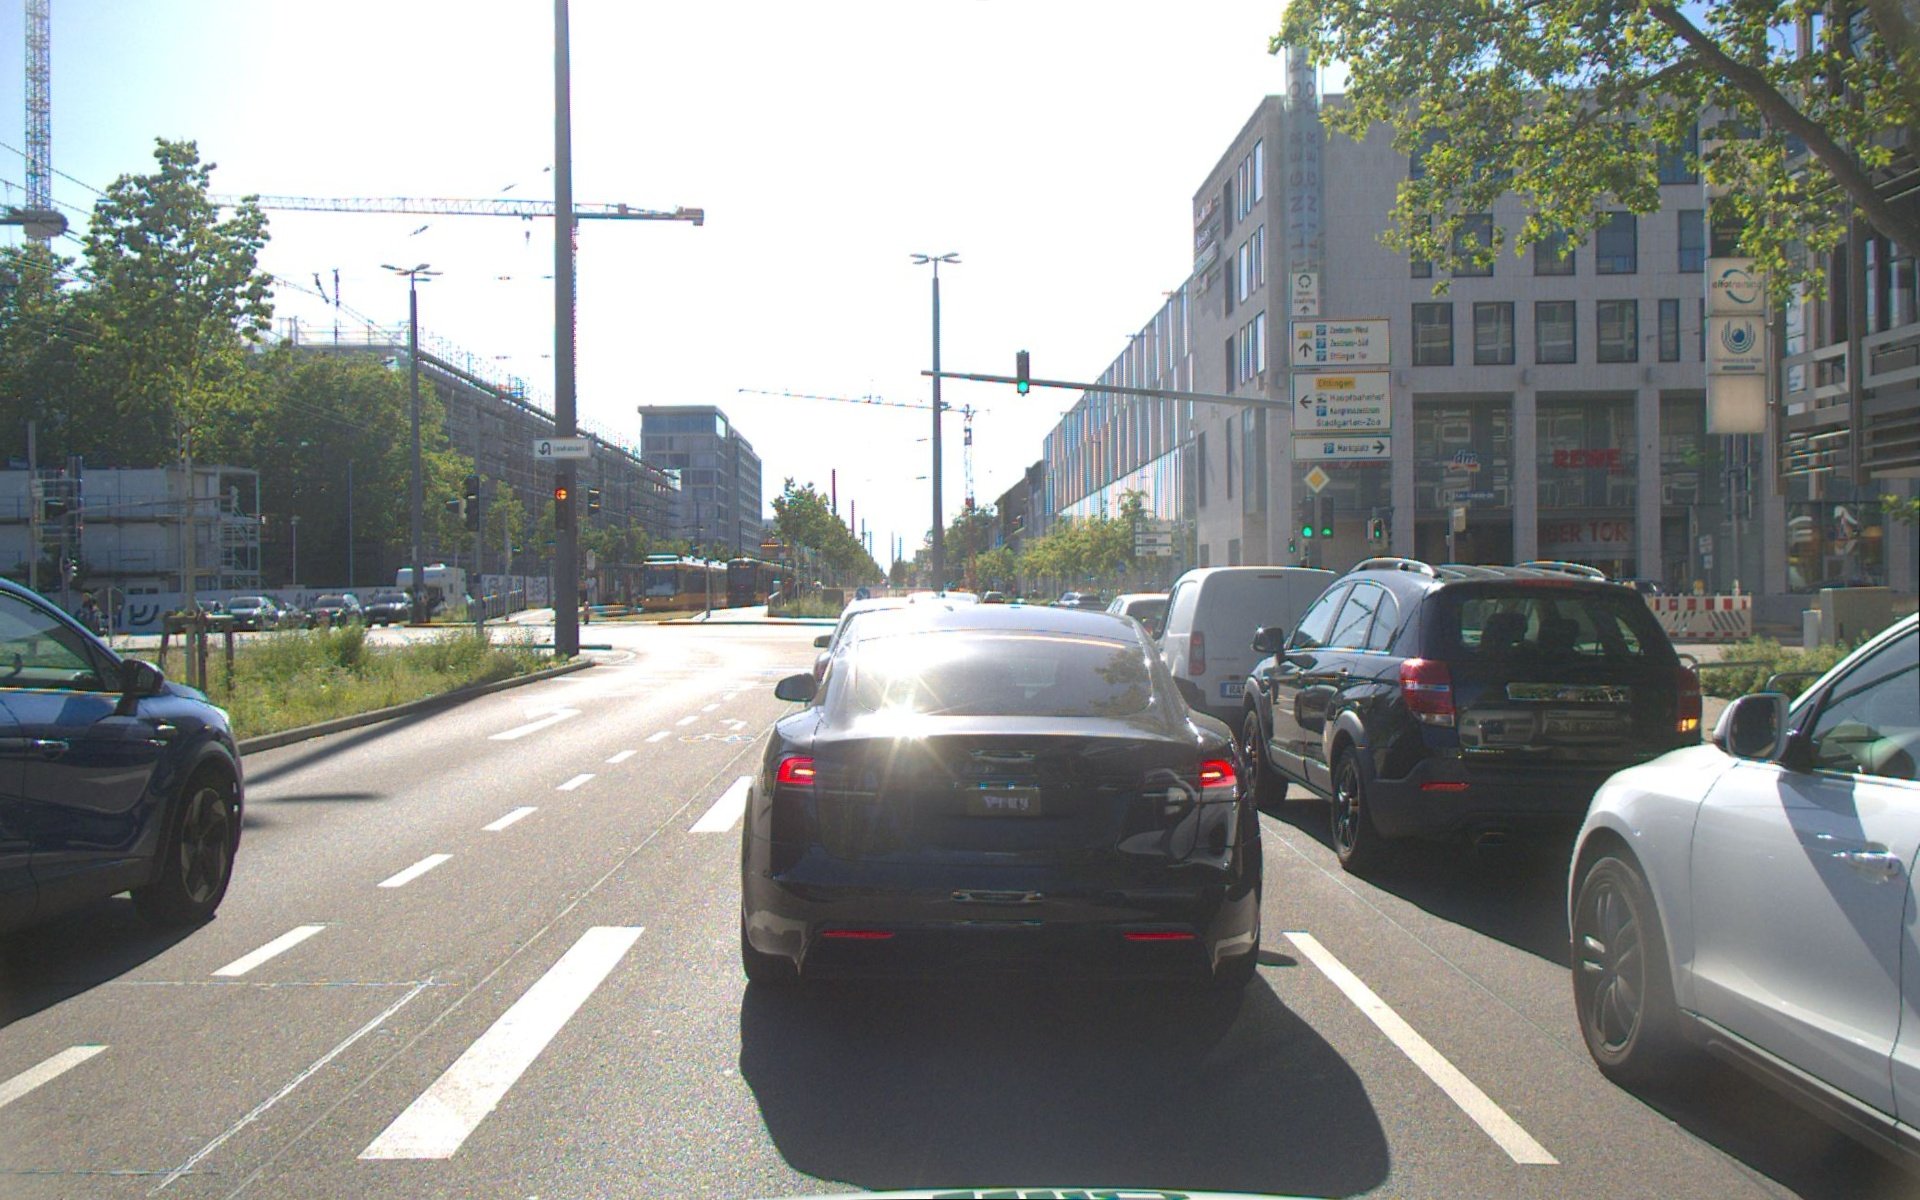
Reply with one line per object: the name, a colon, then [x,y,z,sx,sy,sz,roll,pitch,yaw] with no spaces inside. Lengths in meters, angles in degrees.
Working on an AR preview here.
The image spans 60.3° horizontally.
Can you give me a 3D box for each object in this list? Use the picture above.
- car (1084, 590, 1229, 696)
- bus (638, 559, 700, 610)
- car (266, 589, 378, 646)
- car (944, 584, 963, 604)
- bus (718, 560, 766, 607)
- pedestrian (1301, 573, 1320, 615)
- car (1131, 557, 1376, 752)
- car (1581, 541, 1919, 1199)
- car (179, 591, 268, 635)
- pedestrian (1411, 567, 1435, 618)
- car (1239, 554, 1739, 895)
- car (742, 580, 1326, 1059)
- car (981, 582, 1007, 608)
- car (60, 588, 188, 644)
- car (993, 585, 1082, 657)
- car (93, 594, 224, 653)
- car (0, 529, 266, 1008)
car: [2.926,0.588,25.407,1.686,1.456,4.186,0,1,-1]
bus: [-17.075,-0.854,97.665,2.576,2.832,8.837,1,0,-4]
car: [-14.397,0.400,37.470,1.348,1.199,3.219,1,0,-2]
car: [-0.727,-0.609,176.752,1.953,2.049,3.999,1,-1,-1]
bus: [-14.983,-1.064,114.245,2.576,3.011,9.891,1,0,-4]
pedestrian: [12.528,-0.211,59.123,0.550,1.466,0.632,1,-1,6]
car: [2.980,0.487,17.631,1.687,1.814,4.184,0,1,-3]
car: [2.982,0.686,3.640,1.686,1.646,4.186,0,1,0]
car: [-29.080,0.512,65.405,1.800,1.641,3.894,1,0,-2]
pedestrian: [13.643,-0.218,48.777,0.550,1.466,0.632,1,-1,6]
car: [2.992,0.591,10.321,1.687,1.682,4.185,0,1,-2]
car: [0.177,0.676,7.307,1.873,1.512,4.008,0,1,-2]
car: [2.817,-0.434,136.482,1.953,2.049,3.999,1,-1,-1]
car: [-19.107,0.361,37.929,1.348,1.199,3.219,1,0,-2]
car: [1.628,0.403,35.997,1.686,1.456,4.186,0,1,-1]
car: [-17.533,0.512,36.305,1.348,1.199,3.219,1,0,-2]
car: [-4.167,0.567,5.971,1.709,1.651,4.151,1,1,-3]
